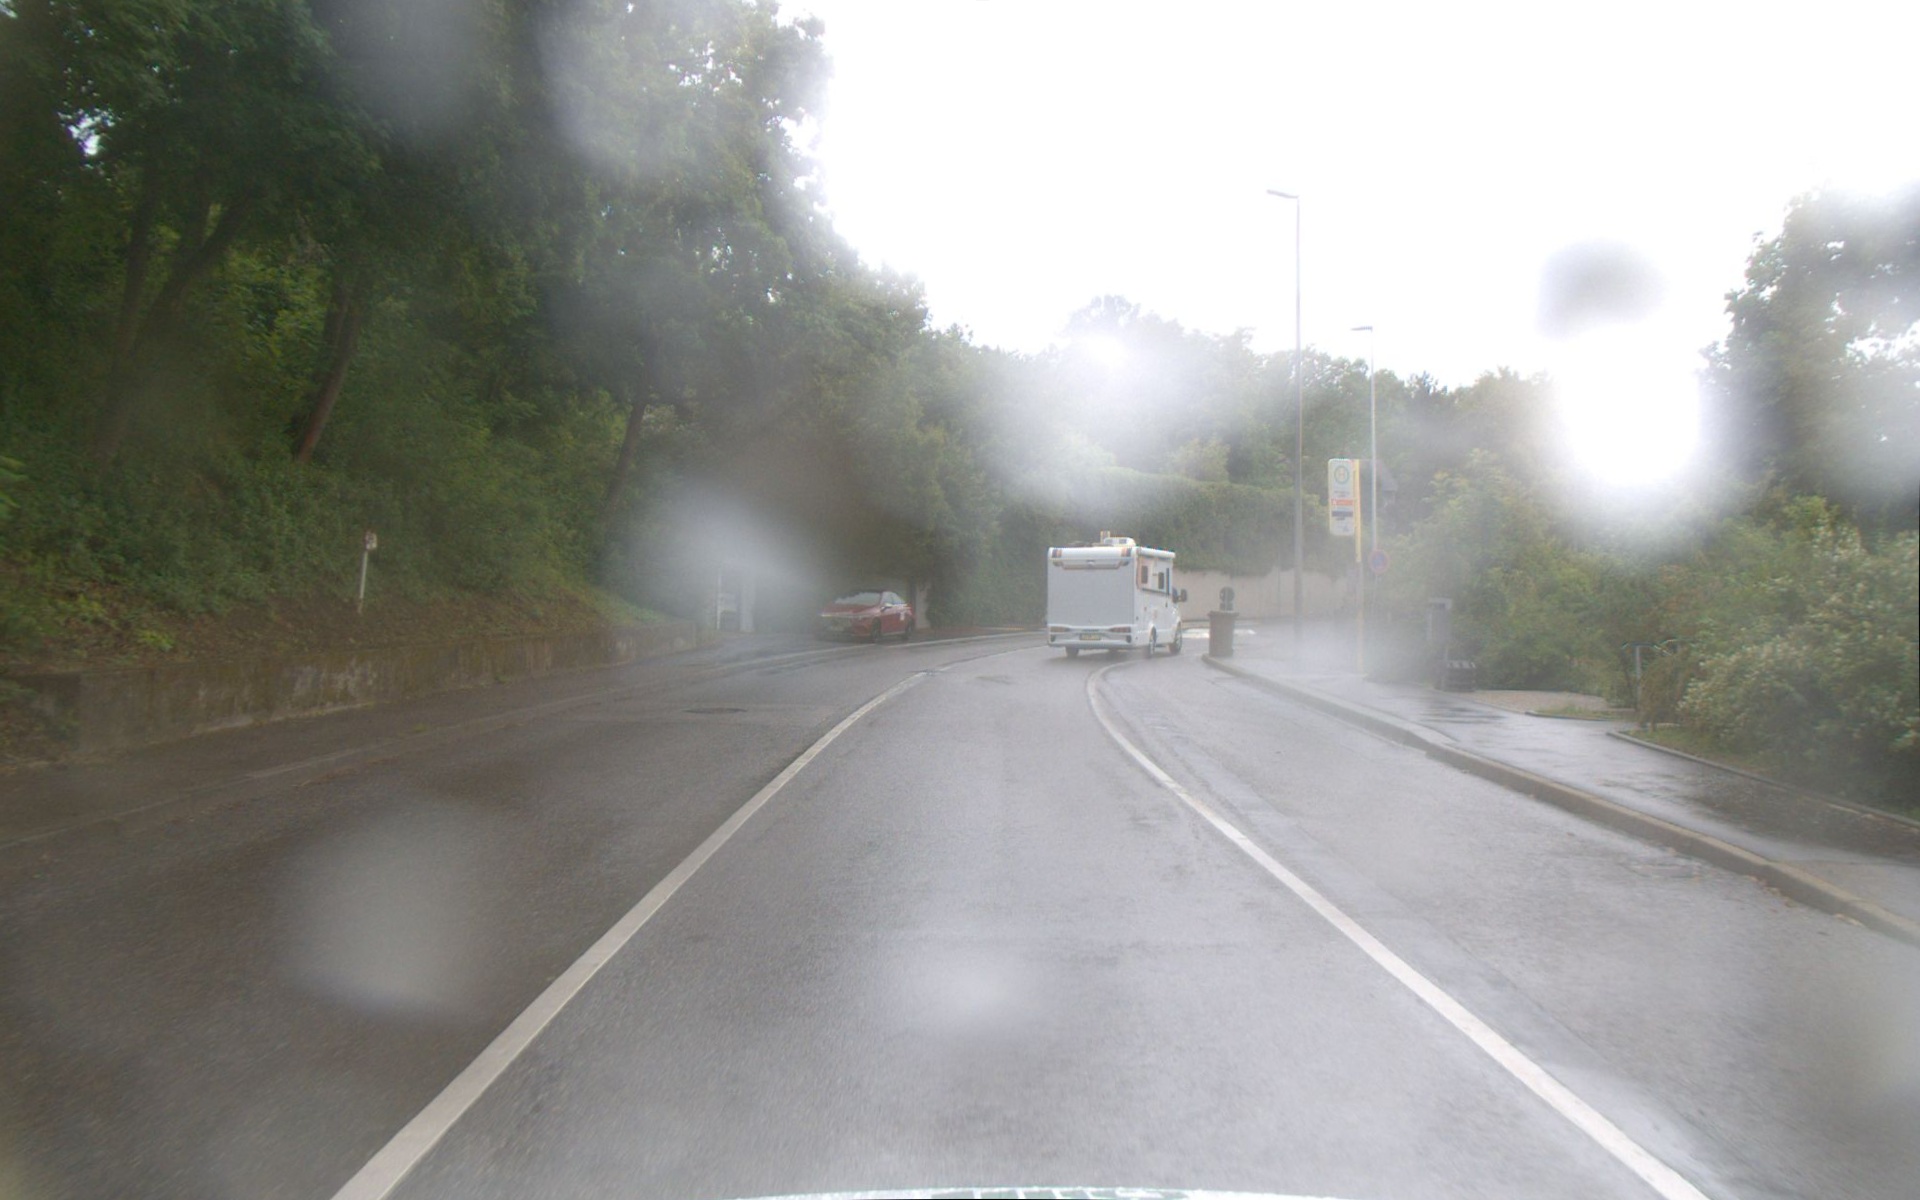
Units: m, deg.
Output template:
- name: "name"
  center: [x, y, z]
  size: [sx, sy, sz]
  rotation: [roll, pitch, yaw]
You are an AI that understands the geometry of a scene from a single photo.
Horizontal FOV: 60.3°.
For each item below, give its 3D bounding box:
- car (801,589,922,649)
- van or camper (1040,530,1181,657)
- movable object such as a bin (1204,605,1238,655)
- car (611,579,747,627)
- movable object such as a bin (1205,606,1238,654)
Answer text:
- name: "car"
  center: [-2.768, 0.501, 47.669]
  size: [1.952, 1.589, 4.655]
  rotation: [1, 1, 17]
- name: "van or camper"
  center: [3.935, -0.174, 42.097]
  size: [2.486, 2.976, 5.952]
  rotation: [1, 0, 16]
- name: "movable object such as a bin"
  center: [6.197, 0.707, 39.280]
  size: [0.761, 1.153, 0.739]
  rotation: [1, 0, 8]
- name: "car"
  center: [-9.089, 0.081, 53.561]
  size: [3.903, 1.530, 1.880]
  rotation: [0, 0, 17]
- name: "movable object such as a bin"
  center: [6.417, 0.730, 40.603]
  size: [0.761, 1.153, 0.739]
  rotation: [1, 0, 8]
